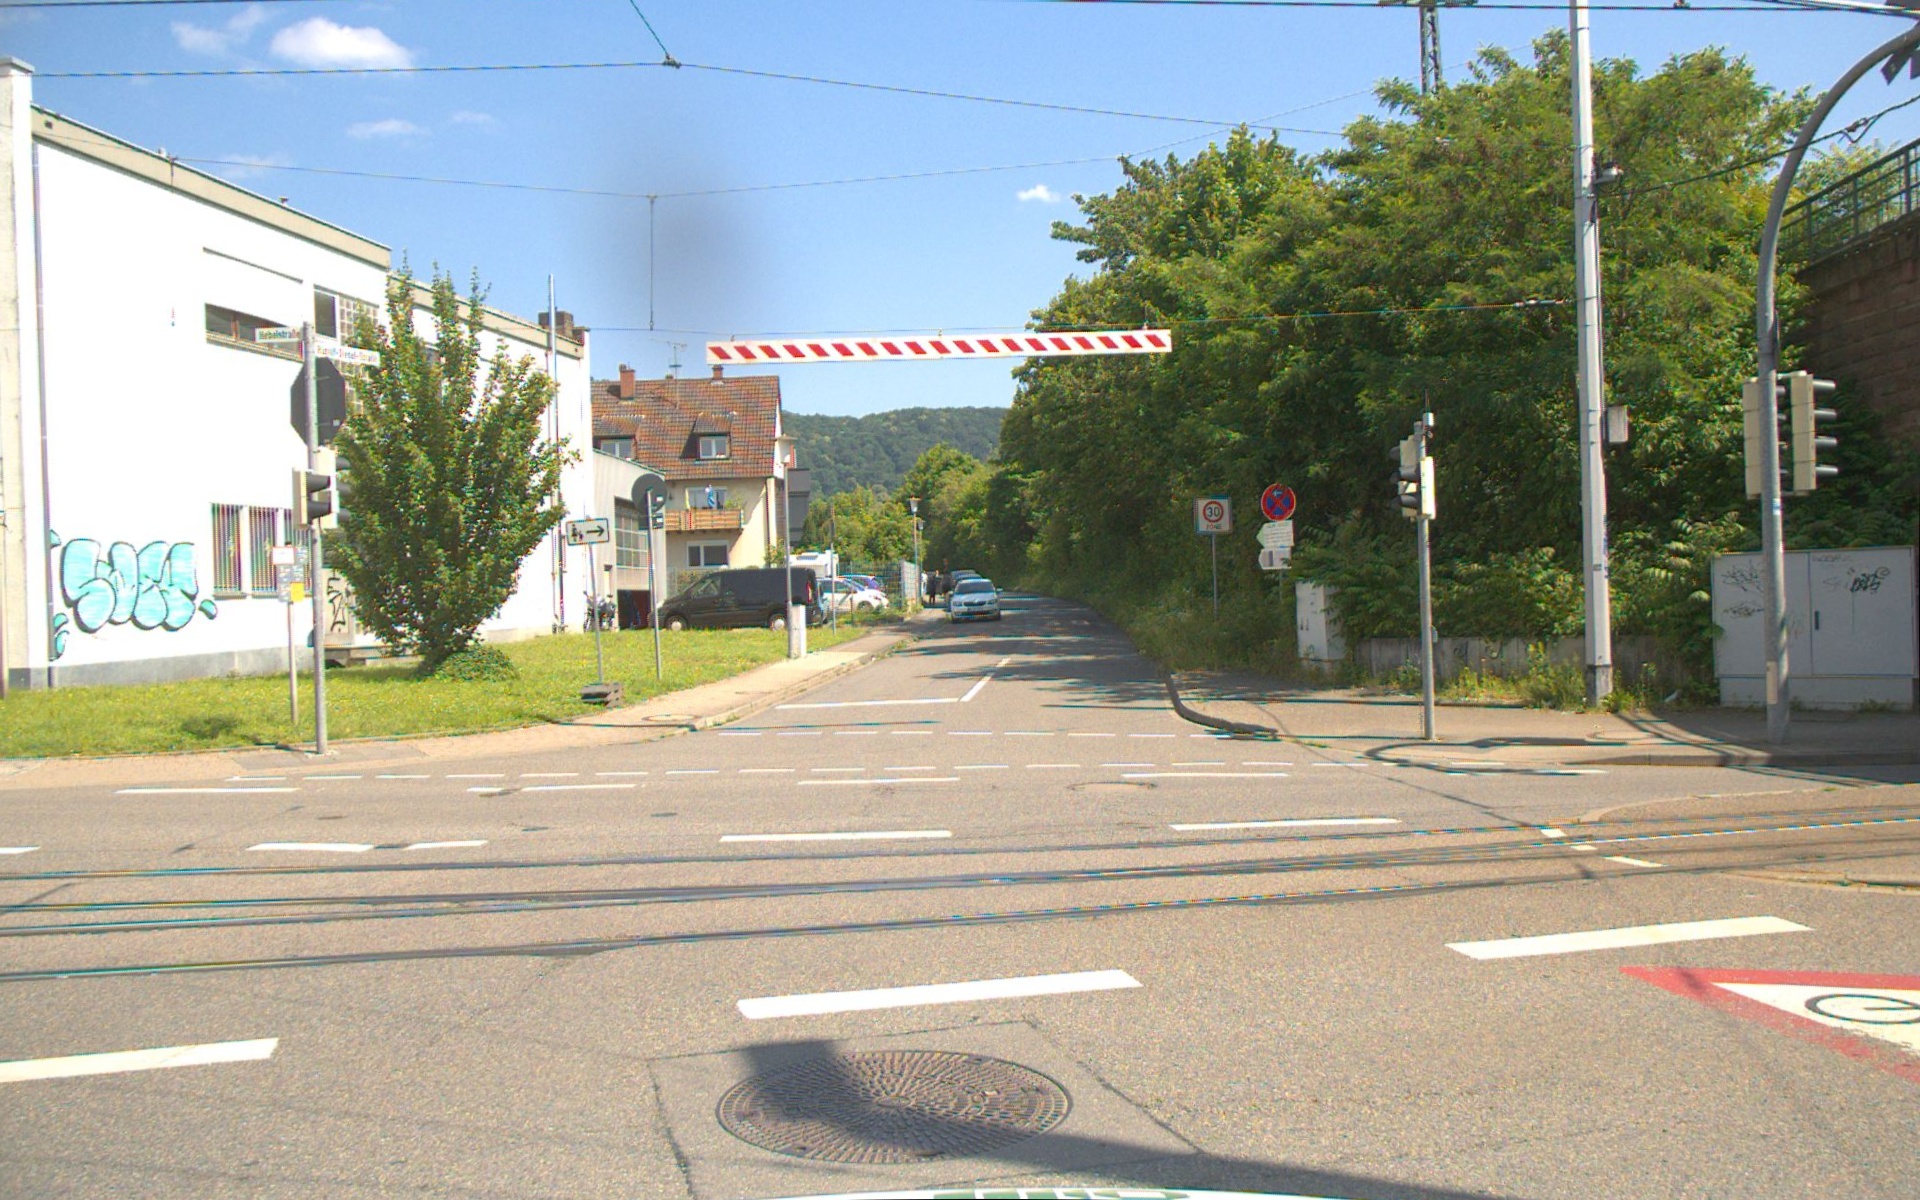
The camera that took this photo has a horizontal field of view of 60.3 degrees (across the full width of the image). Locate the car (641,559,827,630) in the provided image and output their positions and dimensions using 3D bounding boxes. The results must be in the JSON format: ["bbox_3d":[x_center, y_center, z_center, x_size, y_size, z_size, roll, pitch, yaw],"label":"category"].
[{"bbox_3d":[-6.688,-0.161,49.303,5.139,1.848,2.000,-2,0,1],"label":"car"}]

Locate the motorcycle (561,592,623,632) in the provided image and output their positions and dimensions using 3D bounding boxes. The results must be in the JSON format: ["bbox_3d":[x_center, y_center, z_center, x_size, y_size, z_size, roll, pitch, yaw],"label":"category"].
[{"bbox_3d":[-9.847,0.324,44.331,0.834,1.050,2.568,0,-1,6],"label":"motorcycle"}]

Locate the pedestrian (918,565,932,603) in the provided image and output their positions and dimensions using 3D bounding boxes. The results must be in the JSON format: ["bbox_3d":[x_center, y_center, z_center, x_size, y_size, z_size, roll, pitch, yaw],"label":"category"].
[{"bbox_3d":[-1.663,-0.761,78.263,0.640,1.794,0.804,0,-1,2],"label":"pedestrian"}]

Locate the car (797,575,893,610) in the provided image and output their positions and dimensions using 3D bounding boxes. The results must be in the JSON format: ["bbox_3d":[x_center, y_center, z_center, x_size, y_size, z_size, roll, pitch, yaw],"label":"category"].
[{"bbox_3d":[-4.569,-0.290,66.024,3.642,1.395,1.605,0,-1,4],"label":"car"}]

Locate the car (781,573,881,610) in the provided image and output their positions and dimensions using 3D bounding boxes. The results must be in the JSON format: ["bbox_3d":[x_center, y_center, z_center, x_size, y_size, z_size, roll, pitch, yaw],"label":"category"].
[{"bbox_3d":[-4.918,-0.316,63.343,3.642,1.396,1.605,0,-1,4],"label":"car"}]

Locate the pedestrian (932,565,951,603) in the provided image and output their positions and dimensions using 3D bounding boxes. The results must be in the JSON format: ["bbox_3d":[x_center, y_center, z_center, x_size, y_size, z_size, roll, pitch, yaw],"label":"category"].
[{"bbox_3d":[-0.855,-0.748,78.362,0.857,1.794,0.731,0,-1,2],"label":"pedestrian"}]

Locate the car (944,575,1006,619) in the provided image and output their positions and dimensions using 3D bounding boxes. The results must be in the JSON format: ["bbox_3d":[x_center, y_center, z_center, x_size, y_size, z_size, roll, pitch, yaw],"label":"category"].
[{"bbox_3d":[0.569,-0.144,59.636,2.043,1.536,4.541,0,1,3],"label":"car"}]
